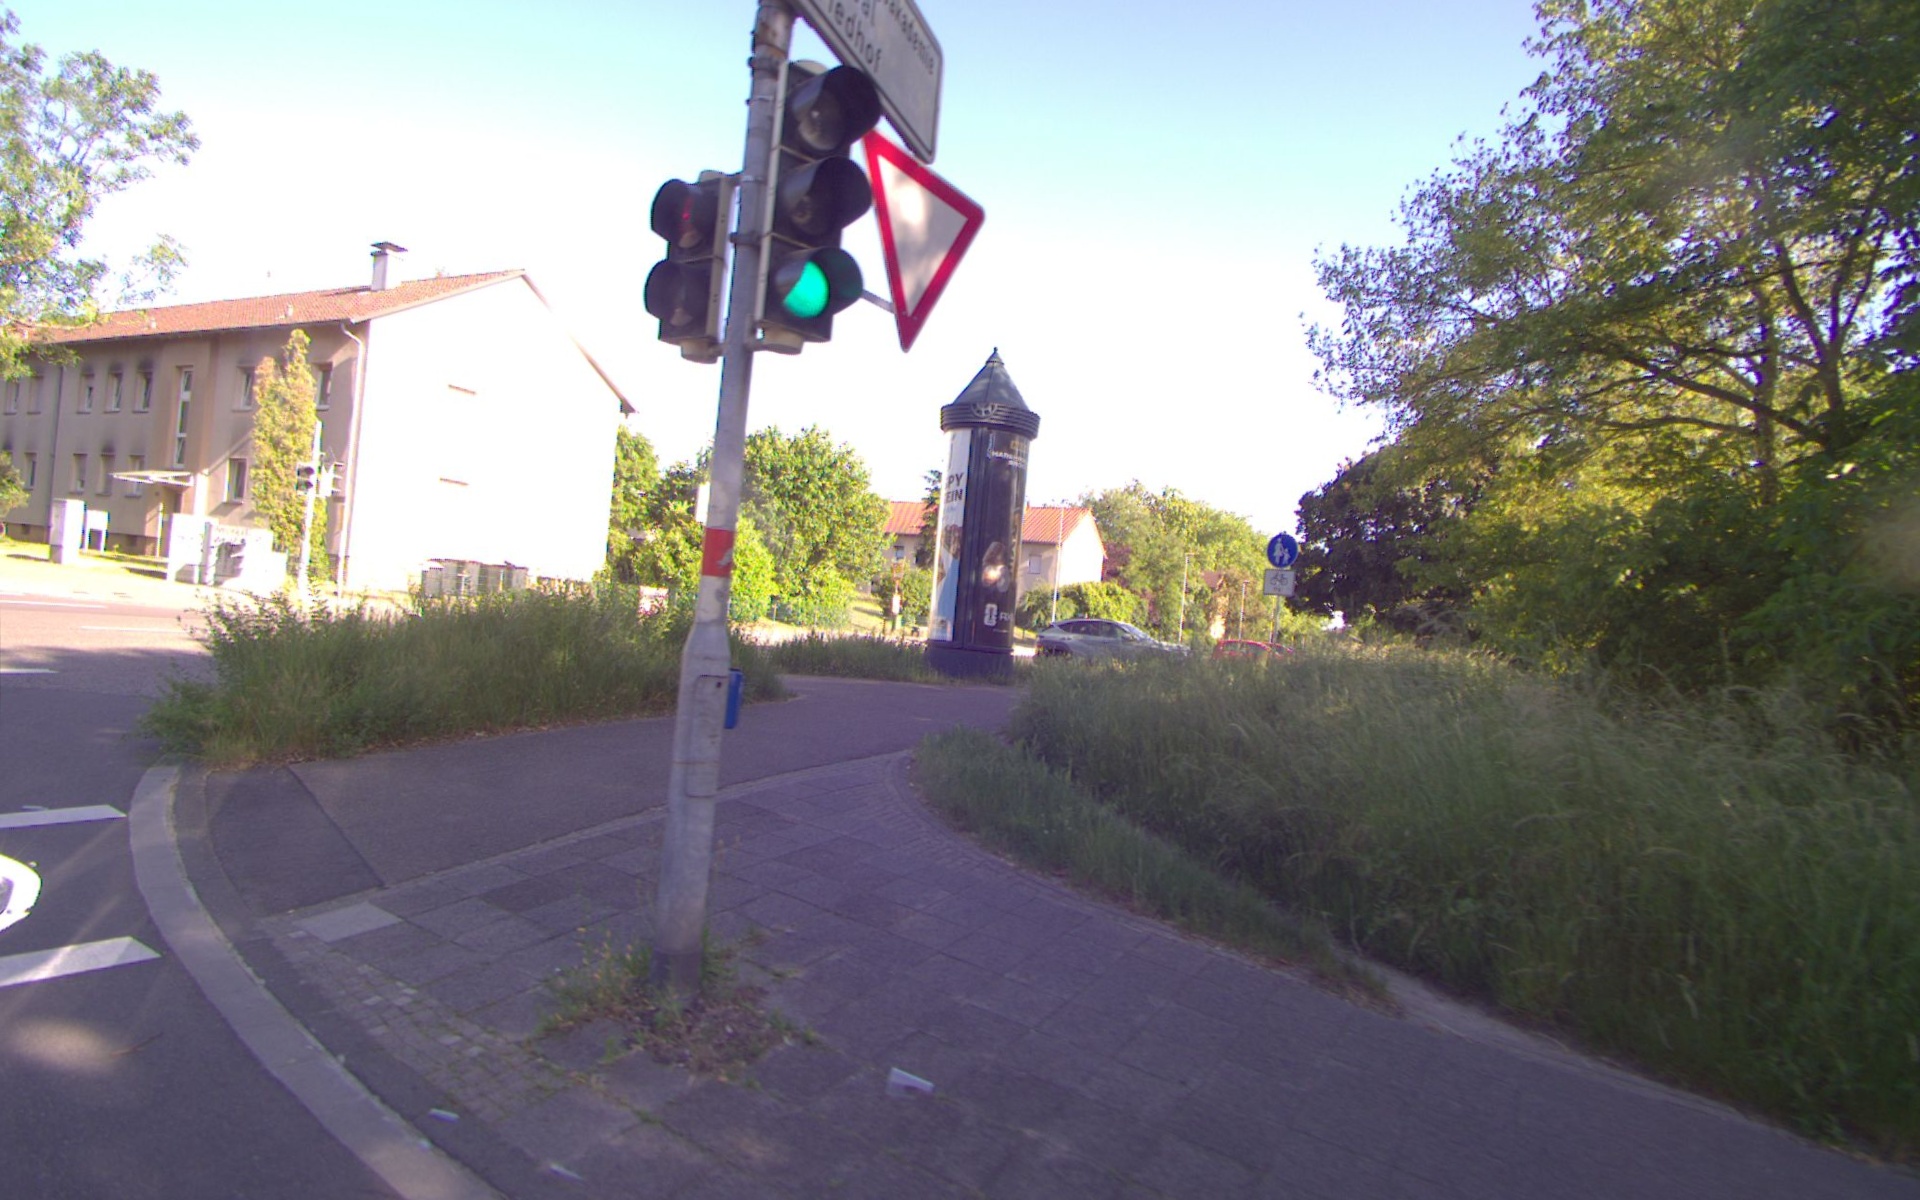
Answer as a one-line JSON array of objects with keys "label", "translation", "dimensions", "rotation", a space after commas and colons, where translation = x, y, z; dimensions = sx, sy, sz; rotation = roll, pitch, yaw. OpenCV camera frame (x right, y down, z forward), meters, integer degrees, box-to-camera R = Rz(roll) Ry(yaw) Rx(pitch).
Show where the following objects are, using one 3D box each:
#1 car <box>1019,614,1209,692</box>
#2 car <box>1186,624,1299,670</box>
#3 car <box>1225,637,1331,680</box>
[{"label": "car", "translation": [3.943, 1.355, 25.854], "dimensions": [4.372, 1.669, 1.868], "rotation": [2, -3, 28]}, {"label": "car", "translation": [11.604, 1.940, 41.385], "dimensions": [4.125, 1.549, 1.868], "rotation": [2, -3, 28]}, {"label": "car", "translation": [14.022, 2.580, 44.382], "dimensions": [4.125, 1.549, 1.868], "rotation": [2, -3, 28]}]
